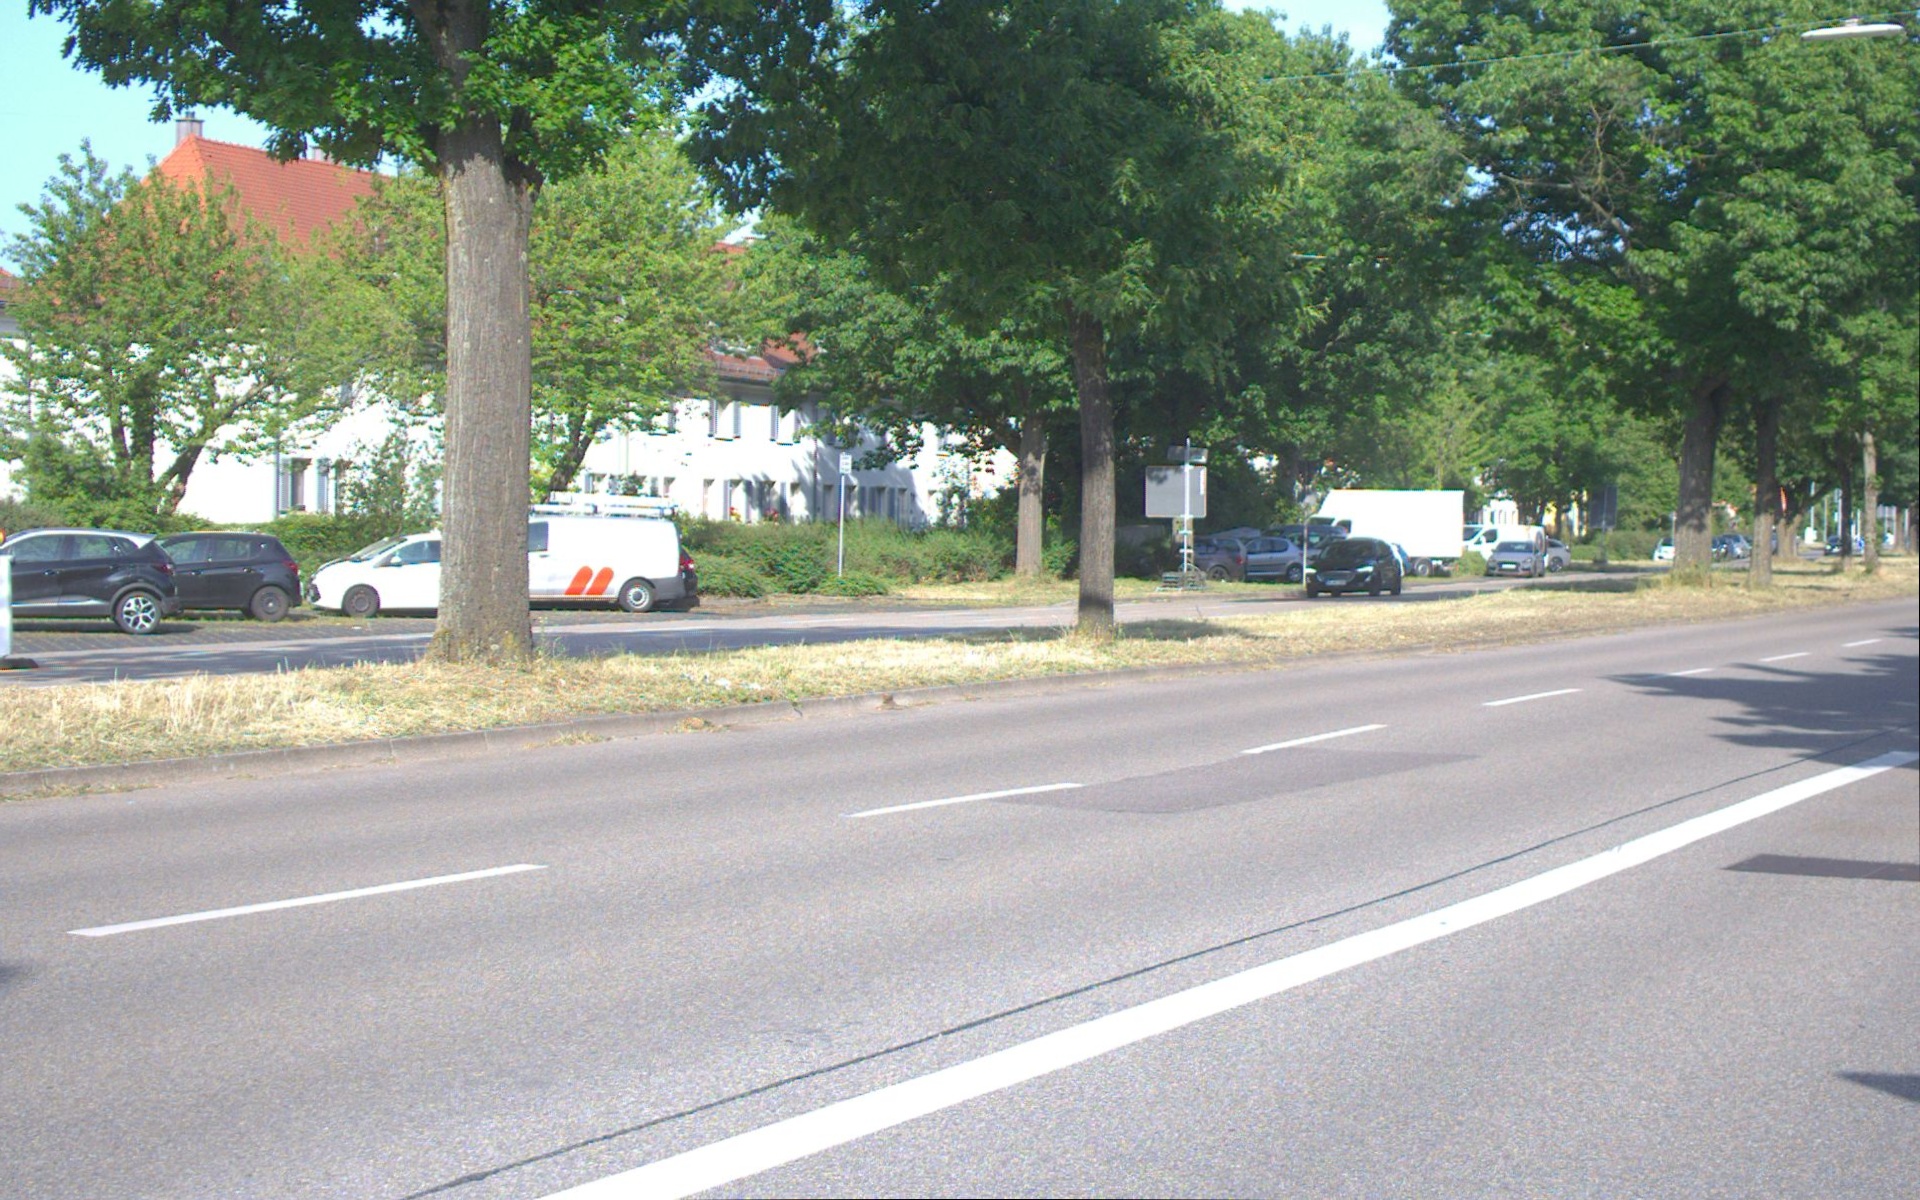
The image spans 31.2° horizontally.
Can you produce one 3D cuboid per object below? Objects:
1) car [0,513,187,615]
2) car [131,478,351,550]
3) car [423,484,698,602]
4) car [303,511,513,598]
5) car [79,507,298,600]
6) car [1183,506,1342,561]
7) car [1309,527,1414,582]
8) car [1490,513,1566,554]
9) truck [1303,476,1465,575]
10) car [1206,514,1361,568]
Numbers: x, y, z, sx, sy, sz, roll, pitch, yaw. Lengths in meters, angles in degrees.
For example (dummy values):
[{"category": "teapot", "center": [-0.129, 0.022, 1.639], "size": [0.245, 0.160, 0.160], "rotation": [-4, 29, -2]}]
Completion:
[{"category": "car", "center": [-13.542, -0.564, 51.899], "size": [3.487, 1.508, 1.897], "rotation": [0, 1, -18]}, {"category": "car", "center": [-17.426, -2.078, 83.332], "size": [4.969, 1.713, 1.998], "rotation": [1, 1, 23]}, {"category": "car", "center": [-7.763, -1.124, 66.805], "size": [4.962, 2.224, 2.001], "rotation": [-1, 1, -22]}, {"category": "car", "center": [-9.823, -0.817, 61.103], "size": [3.421, 1.508, 1.897], "rotation": [0, 1, -18]}, {"category": "car", "center": [-12.950, -0.793, 57.674], "size": [3.421, 1.508, 1.897], "rotation": [0, 1, -18]}, {"category": "car", "center": [9.451, -2.075, 107.500], "size": [4.524, 1.717, 2.001], "rotation": [0, 1, -20]}, {"category": "car", "center": [10.117, -1.162, 86.371], "size": [1.712, 1.349, 3.996], "rotation": [1, 1, 20]}, {"category": "car", "center": [21.690, -2.529, 131.088], "size": [1.913, 1.445, 4.274], "rotation": [0, 0, 23]}, {"category": "truck", "center": [14.980, -2.624, 121.418], "size": [5.486, 3.453, 2.000], "rotation": [0, 1, -26]}, {"category": "car", "center": [10.410, -1.893, 110.697], "size": [4.524, 1.717, 2.001], "rotation": [0, 1, -20]}]
